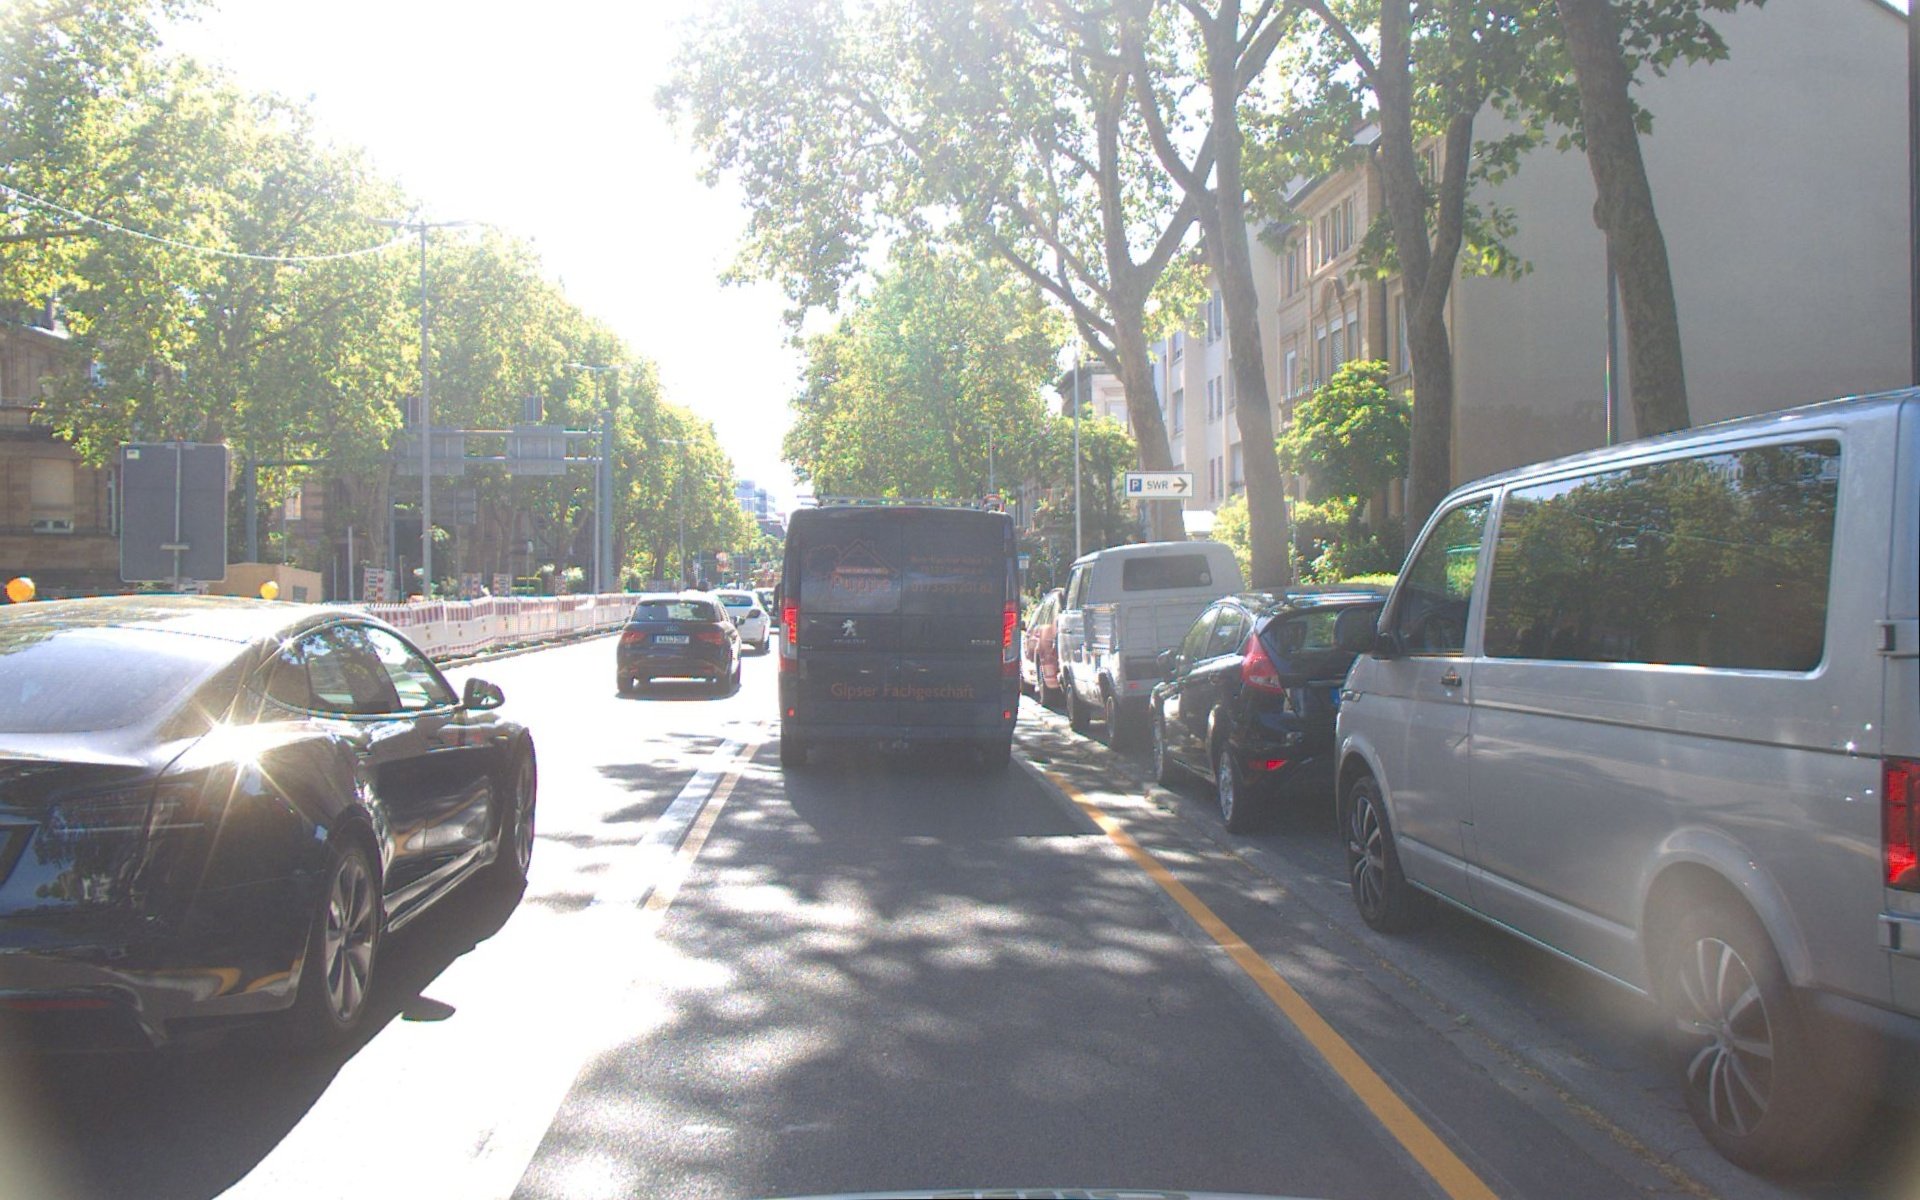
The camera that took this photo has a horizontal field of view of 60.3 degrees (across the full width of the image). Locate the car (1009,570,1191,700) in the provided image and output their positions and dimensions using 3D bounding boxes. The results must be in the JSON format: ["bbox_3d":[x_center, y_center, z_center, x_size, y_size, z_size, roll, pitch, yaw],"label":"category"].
[{"bbox_3d":[1.781,0.416,22.498,1.785,1.534,4.674,-2,0,-3],"label":"car"}]

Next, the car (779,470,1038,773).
[{"bbox_3d":[-0.566,0.135,15.104,2.054,2.396,3.929,0,1,-5],"label":"car"}]

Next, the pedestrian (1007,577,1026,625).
[{"bbox_3d":[2.483,0.044,72.531,0.781,2.049,1.168,-1,0,1],"label":"pedestrian"}]

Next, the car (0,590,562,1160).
[{"bbox_3d":[-2.943,0.695,6.526,1.887,1.436,4.622,0,1,-4],"label":"car"}]

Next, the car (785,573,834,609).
[{"bbox_3d":[-6.933,-0.415,76.457,1.953,1.616,3.999,-1,0,-1],"label":"car"}]

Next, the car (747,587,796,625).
[{"bbox_3d":[-6.383,0.190,56.200,1.393,1.246,3.436,-1,0,-3],"label":"car"}]

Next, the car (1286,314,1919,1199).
[{"bbox_3d":[2.860,0.357,5.886,1.986,1.980,5.268,-1,0,-4],"label":"car"}]

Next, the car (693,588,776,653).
[{"bbox_3d":[-5.283,0.456,39.068,1.516,1.450,3.554,-1,0,-1],"label":"car"}]

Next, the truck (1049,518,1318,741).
[{"bbox_3d":[2.102,0.246,16.859,1.839,1.914,4.450,-2,0,-4],"label":"truck"}]

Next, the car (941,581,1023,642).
[{"bbox_3d":[0.524,0.263,43.311,1.808,1.467,4.484,-1,0,-3],"label":"car"}]

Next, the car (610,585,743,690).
[{"bbox_3d":[-4.264,0.516,25.384,1.712,1.432,3.996,1,1,-6],"label":"car"}]

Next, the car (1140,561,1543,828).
[{"bbox_3d":[2.435,0.531,11.614,1.713,1.503,4.099,-1,0,-2],"label":"car"}]
